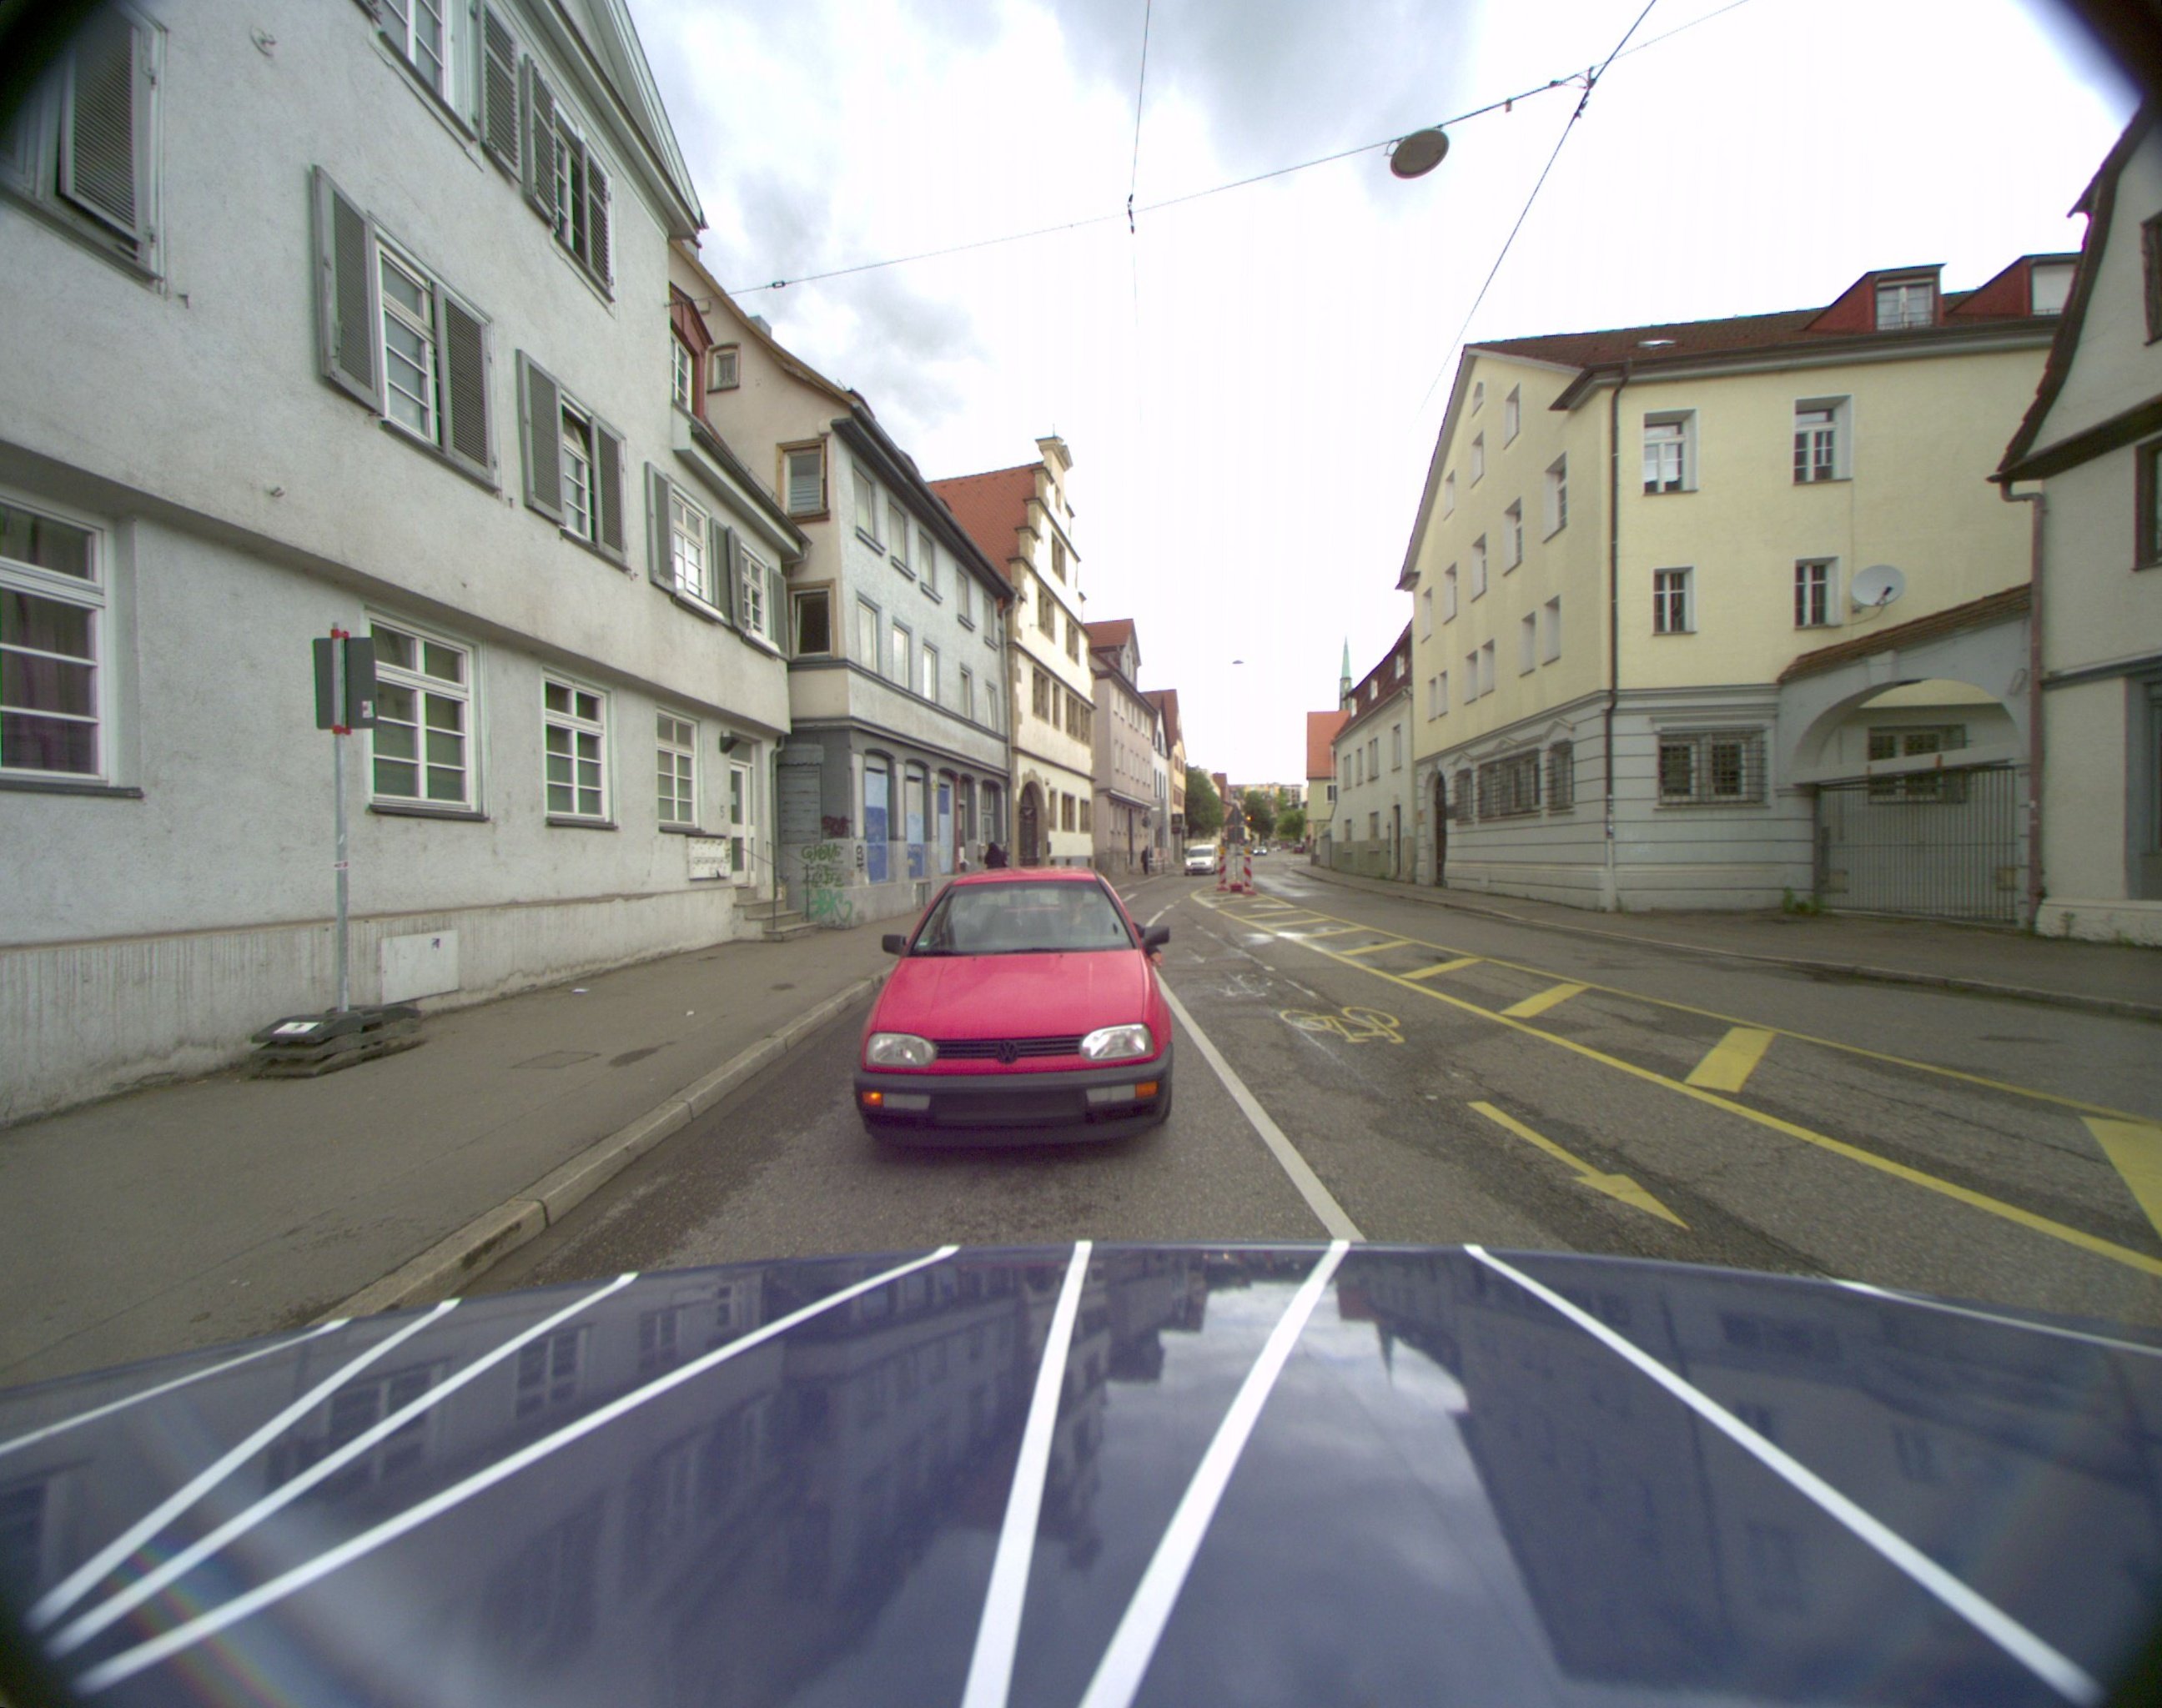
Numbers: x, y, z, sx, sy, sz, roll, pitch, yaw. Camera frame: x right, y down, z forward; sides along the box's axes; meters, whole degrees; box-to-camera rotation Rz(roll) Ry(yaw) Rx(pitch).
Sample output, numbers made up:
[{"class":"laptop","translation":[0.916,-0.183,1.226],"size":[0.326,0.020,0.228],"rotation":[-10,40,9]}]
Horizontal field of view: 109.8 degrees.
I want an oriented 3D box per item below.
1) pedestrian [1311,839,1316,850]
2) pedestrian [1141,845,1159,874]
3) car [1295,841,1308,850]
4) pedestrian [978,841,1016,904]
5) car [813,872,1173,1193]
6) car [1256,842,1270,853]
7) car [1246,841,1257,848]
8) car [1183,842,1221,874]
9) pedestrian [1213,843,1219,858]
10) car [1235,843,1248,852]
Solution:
[{"class":"pedestrian","translation":[44.656,-1.800,145.822],"size":[0.835,2.002,0.846],"rotation":[-1,1,13]},{"class":"pedestrian","translation":[3.889,0.314,43.064],"size":[0.833,1.646,0.945],"rotation":[-1,0,15]},{"class":"car","translation":[42.648,-1.669,146.797],"size":[2.210,1.668,4.502],"rotation":[0,1,14]},{"class":"pedestrian","translation":[-2.247,0.488,20.491],"size":[0.756,1.658,0.810],"rotation":[2,1,11]},{"class":"car","translation":[-0.424,0.894,5.623],"size":[1.685,1.418,4.021],"rotation":[-1,0,0]},{"class":"car","translation":[29.231,-1.043,121.918],"size":[1.996,1.669,4.004],"rotation":[-1,1,15]},{"class":"car","translation":[34.637,-1.874,154.219],"size":[1.819,1.380,4.005],"rotation":[0,1,17]},{"class":"car","translation":[7.252,0.198,45.352],"size":[1.996,1.777,4.470],"rotation":[0,2,12]},{"class":"pedestrian","translation":[20.746,-0.477,116.648],"size":[0.901,2.297,0.821],"rotation":[-1,0,13]},{"class":"car","translation":[28.315,-1.125,133.618],"size":[2.031,1.546,4.004],"rotation":[0,1,14]}]
